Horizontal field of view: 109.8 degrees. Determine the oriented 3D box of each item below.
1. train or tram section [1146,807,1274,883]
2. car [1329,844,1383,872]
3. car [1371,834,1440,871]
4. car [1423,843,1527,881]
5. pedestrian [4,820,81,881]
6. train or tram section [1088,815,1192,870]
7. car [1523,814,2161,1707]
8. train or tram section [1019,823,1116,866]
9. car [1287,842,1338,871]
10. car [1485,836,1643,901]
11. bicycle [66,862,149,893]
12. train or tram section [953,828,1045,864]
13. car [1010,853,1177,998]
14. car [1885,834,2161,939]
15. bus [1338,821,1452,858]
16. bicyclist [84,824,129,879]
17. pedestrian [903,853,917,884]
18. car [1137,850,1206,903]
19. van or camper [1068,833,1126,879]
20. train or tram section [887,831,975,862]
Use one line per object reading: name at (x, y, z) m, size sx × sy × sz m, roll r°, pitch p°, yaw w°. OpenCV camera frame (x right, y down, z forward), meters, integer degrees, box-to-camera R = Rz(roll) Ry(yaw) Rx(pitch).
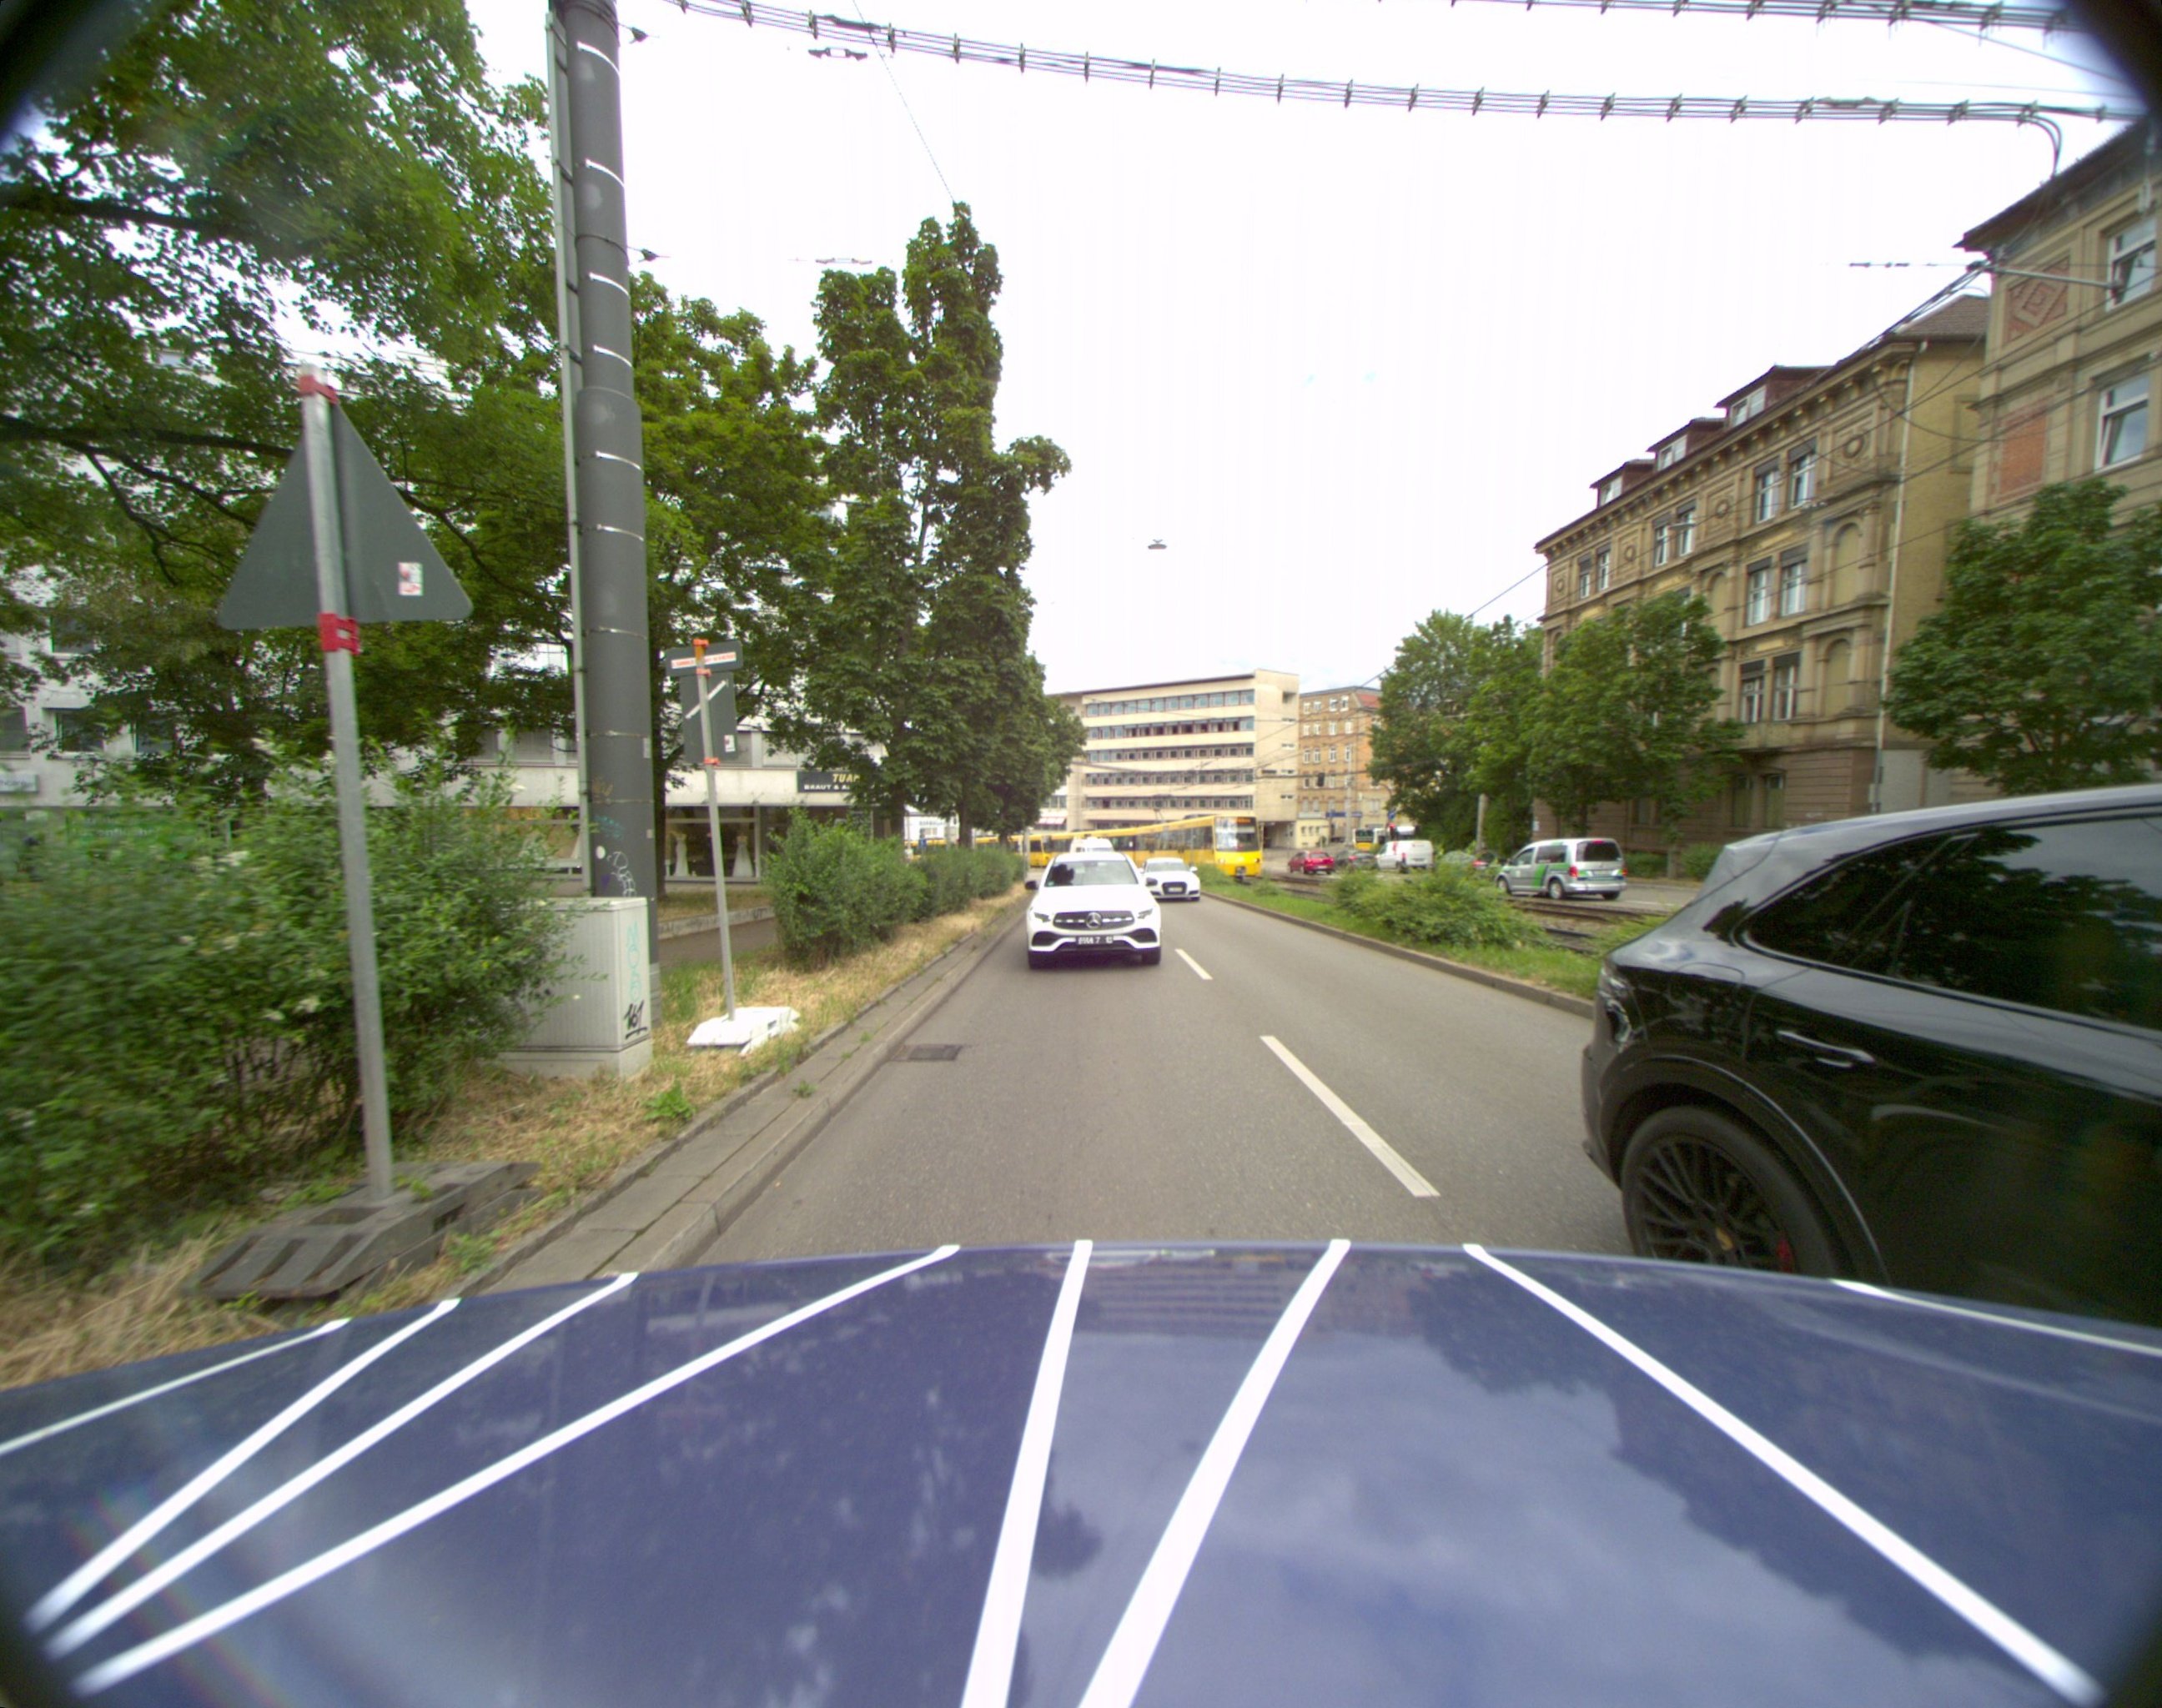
train or tram section at (7.010, -0.625, 44.731) m, size 2.891 × 3.643 × 14.460 m, roll -3°, pitch 2°, yaw -9°
car at (16.499, 0.204, 45.755) m, size 1.746 × 1.419 × 4.405 m, roll -2°, pitch 2°, yaw 2°
car at (19.292, -0.147, 45.432) m, size 1.998 × 1.840 × 4.990 m, roll -2°, pitch 3°, yaw 1°
car at (16.545, 0.362, 32.257) m, size 1.824 × 1.441 × 4.947 m, roll -2°, pitch -1°, yaw 0°
pedestrian at (-29.586, -0.104, 21.665) m, size 0.880 × 1.691 × 0.876 m, roll -1°, pitch 1°, yaw -11°
train or tram section at (4.107, -0.898, 58.719) m, size 2.893 × 3.643 × 14.206 m, roll -3°, pitch 2°, yaw -17°
car at (2.649, 0.794, 0.442) m, size 2.032 × 1.675 × 4.779 m, roll -1°, pitch 2°, yaw 1°
train or tram section at (-1.617, -0.882, 72.602) m, size 2.894 × 3.643 × 14.196 m, roll -4°, pitch 2°, yaw -29°
car at (14.011, 0.098, 46.225) m, size 1.998 × 1.511 × 4.404 m, roll 1°, pitch 3°, yaw 4°
car at (14.522, 0.386, 23.220) m, size 1.884 × 1.777 × 4.516 m, roll 1°, pitch 1°, yaw -1°
bicycle at (-29.042, 0.697, 22.682) m, size 1.543 × 0.854 × 0.519 m, roll -1°, pitch 1°, yaw -11°
train or tram section at (-9.443, -0.985, 84.557) m, size 2.936 × 3.540 × 14.188 m, roll -6°, pitch 4°, yaw -38°
car at (0.213, 0.860, 11.505) m, size 1.934 × 1.622 × 4.773 m, roll -3°, pitch 0°, yaw 2°
car at (16.889, 0.455, 12.881) m, size 1.869 × 1.545 × 4.438 m, roll -1°, pitch 0°, yaw 2°
bus at (28.919, -1.348, 69.661) m, size 11.565 × 3.012 × 3.382 m, roll -3°, pitch 1°, yaw -31°
bicyclist at (-29.061, -0.079, 22.667) m, size 0.596 × 1.593 × 0.513 m, roll -1°, pitch 1°, yaw -11°
pedestrian at (-9.924, 0.837, 44.147) m, size 0.676 × 1.784 × 0.607 m, roll -3°, pitch 1°, yaw -19°
car at (3.026, 0.695, 26.369) m, size 1.897 × 1.467 × 4.529 m, roll -3°, pitch 2°, yaw 1°
van or camper at (0.914, 0.018, 48.646) m, size 2.210 × 2.544 × 6.364 m, roll -4°, pitch 3°, yaw -11°
train or tram section at (-18.954, -0.913, 95.140) m, size 14.189 × 3.423 × 2.895 m, roll -1°, pitch 5°, yaw 44°
